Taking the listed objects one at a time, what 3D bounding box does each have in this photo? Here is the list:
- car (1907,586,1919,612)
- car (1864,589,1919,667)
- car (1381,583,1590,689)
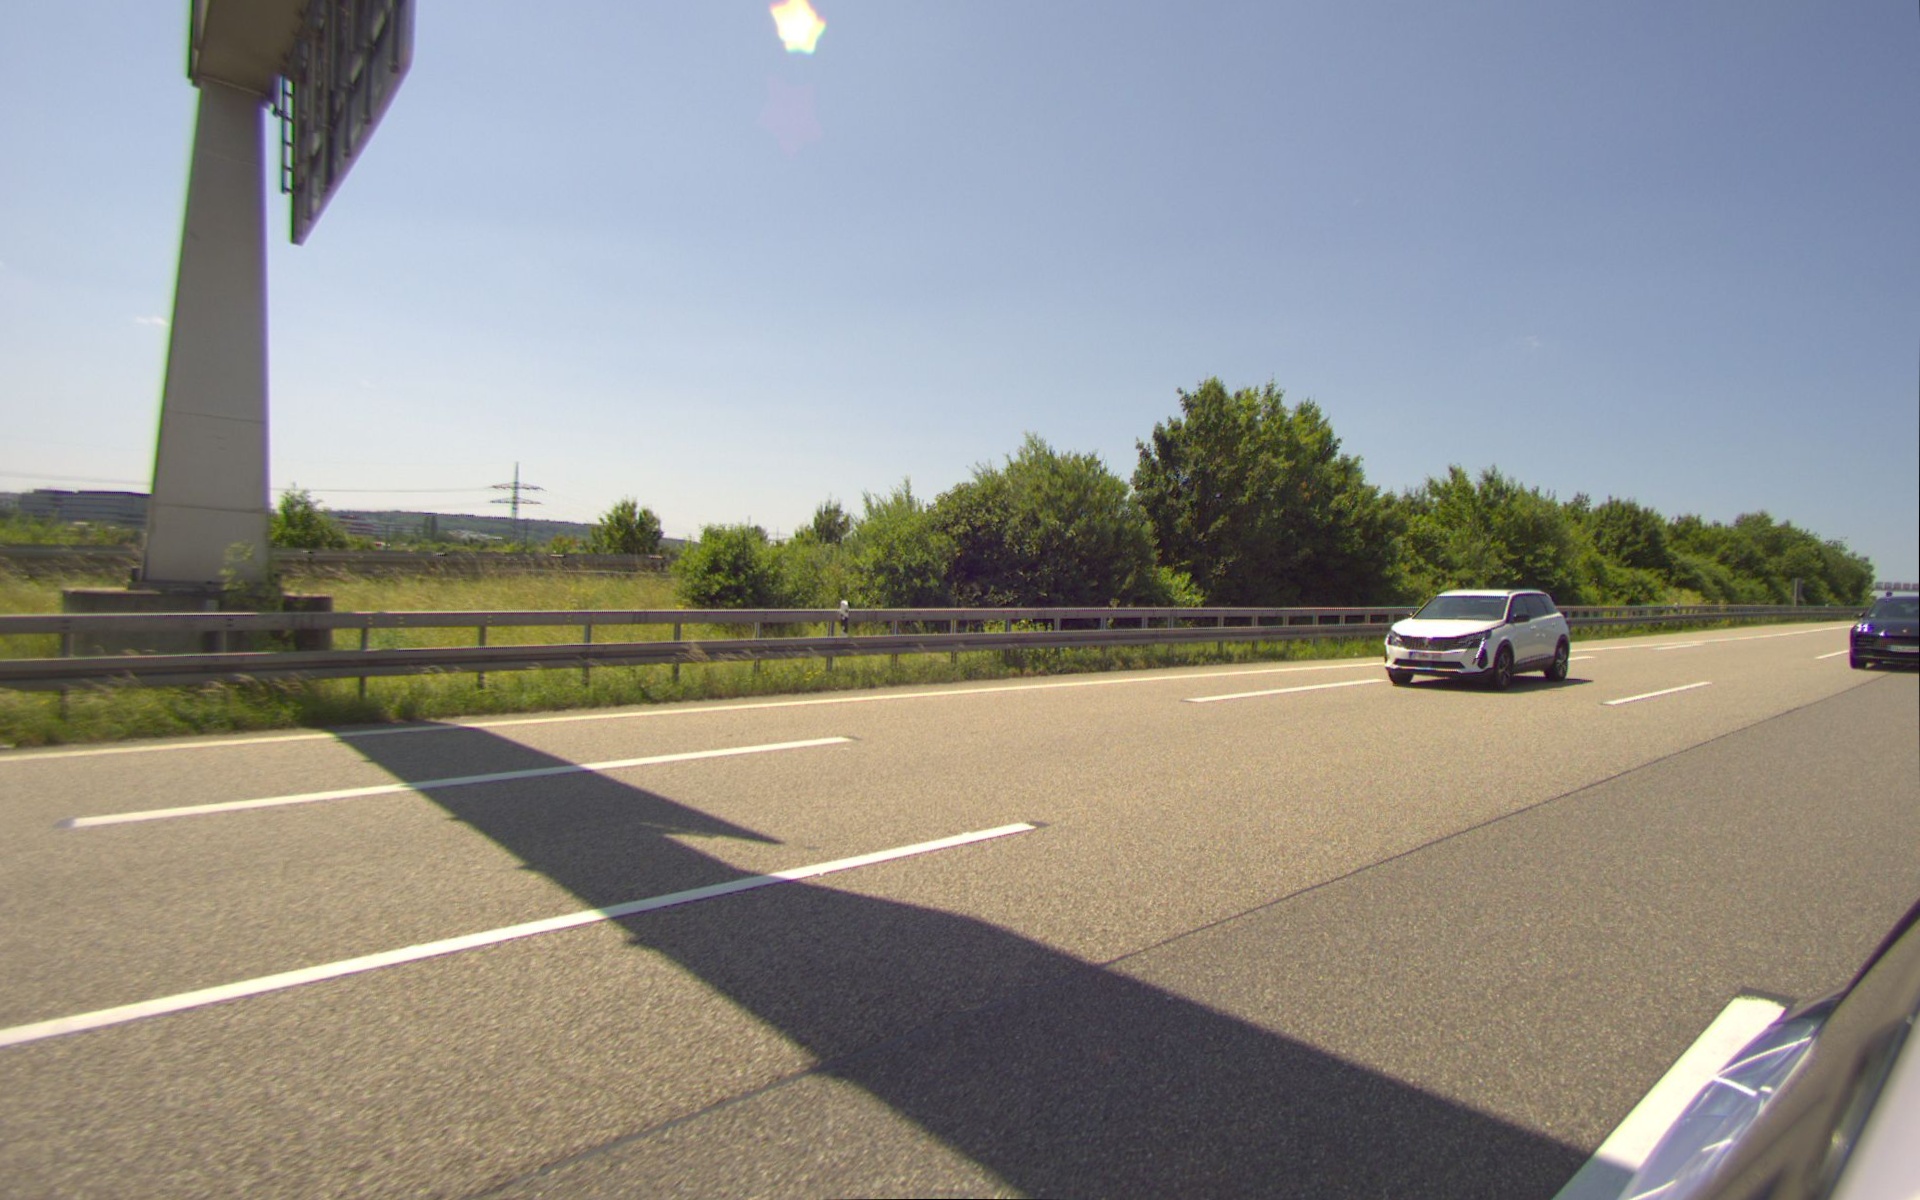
[{"bbox_3d":[74.631,-0.075,78.314,4.225,1.943,1.805,-1,0,-45],"label":"car"},{"bbox_3d":[21.521,0.567,22.316,4.061,1.615,1.929,0,0,-42],"label":"car"},{"bbox_3d":[9.257,0.532,17.645,4.540,1.611,1.746,-1,0,-42],"label":"car"}]
